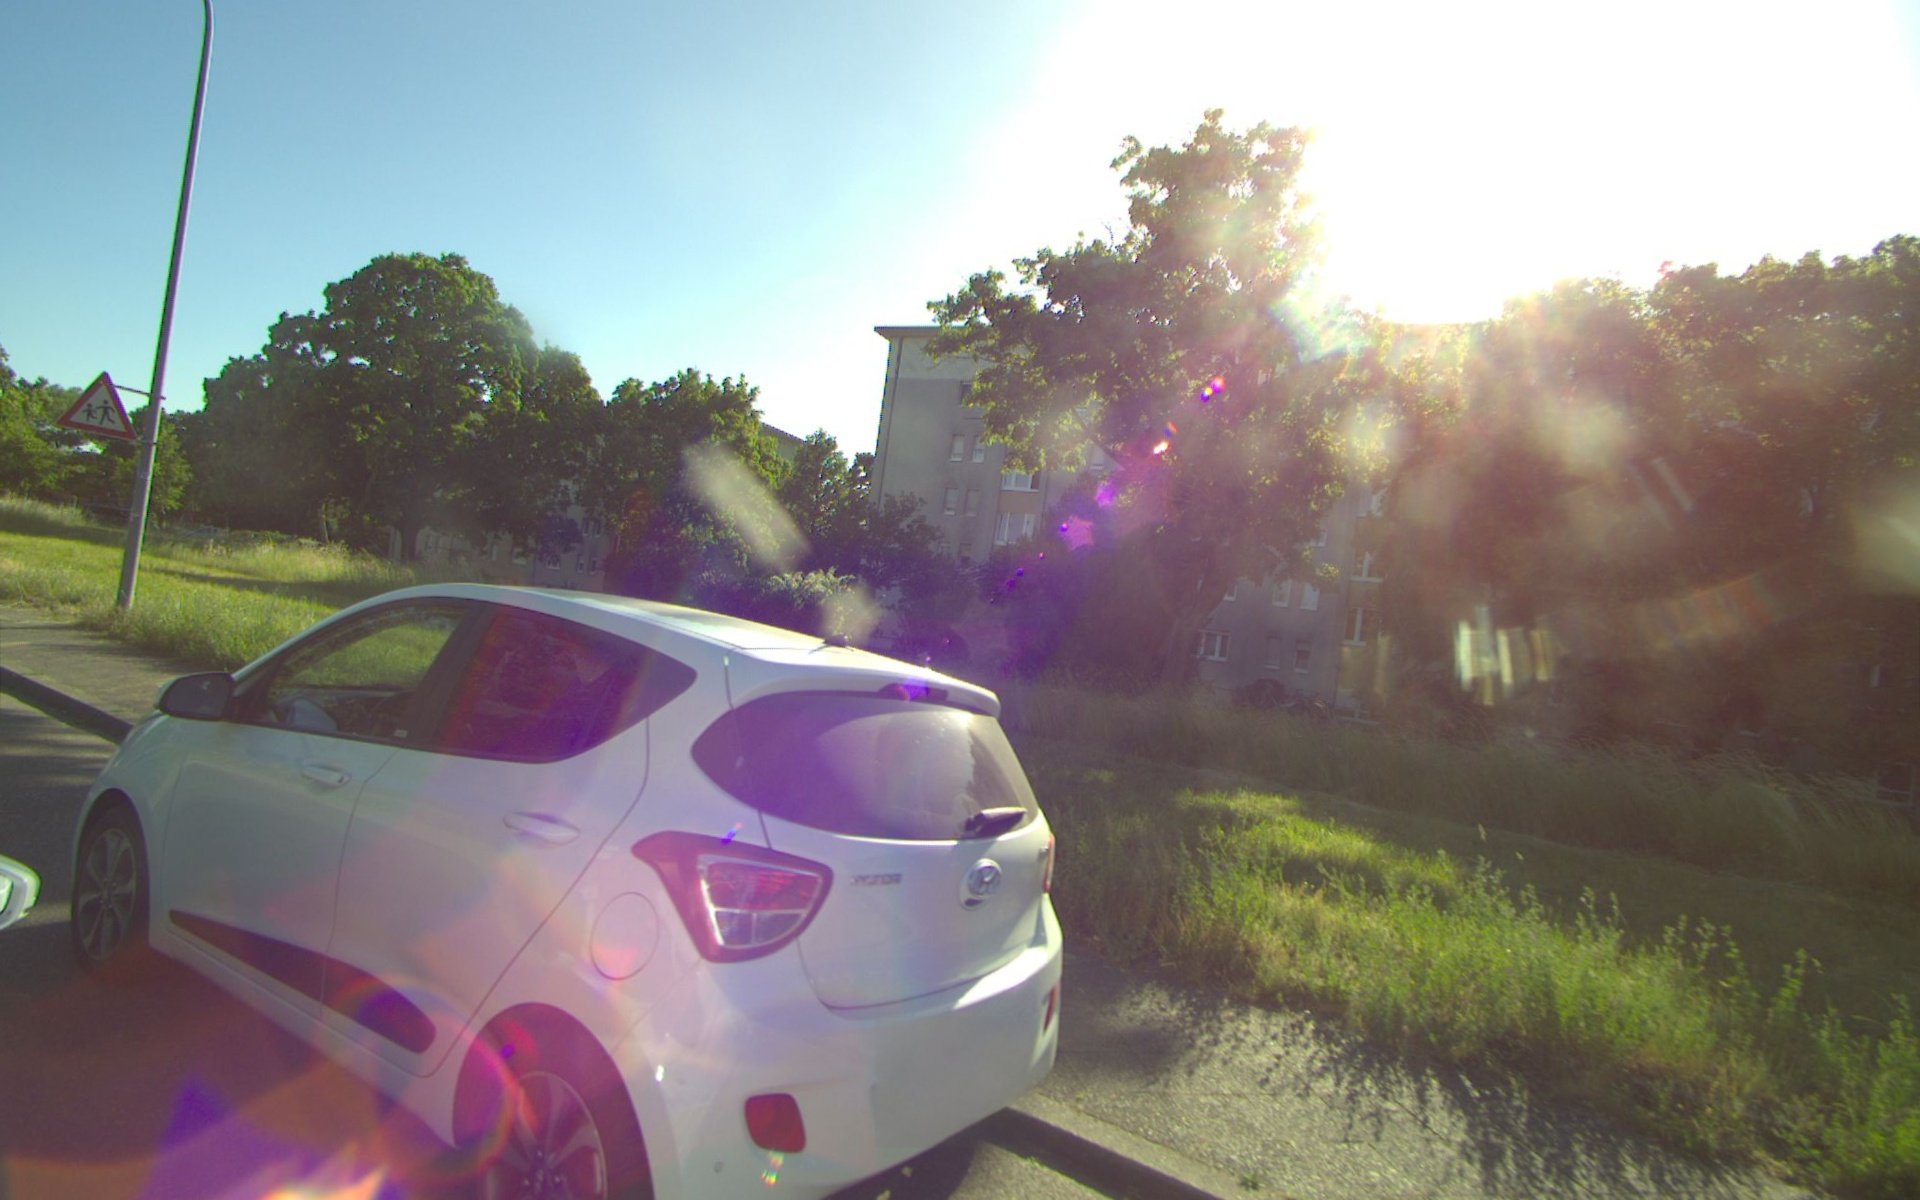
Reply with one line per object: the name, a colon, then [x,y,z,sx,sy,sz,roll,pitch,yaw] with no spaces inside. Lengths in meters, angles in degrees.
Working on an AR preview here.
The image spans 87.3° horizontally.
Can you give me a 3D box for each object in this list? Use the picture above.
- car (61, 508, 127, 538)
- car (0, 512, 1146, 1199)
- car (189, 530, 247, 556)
car: [-66.295,-5.870,77.061,3.692,1.636,1.680,9,-4,-42]
car: [-1.481,0.694,3.503,3.679,1.495,1.726,6,-4,32]
car: [-64.731,-4.968,87.847,1.677,1.636,3.700,4,-4,41]
